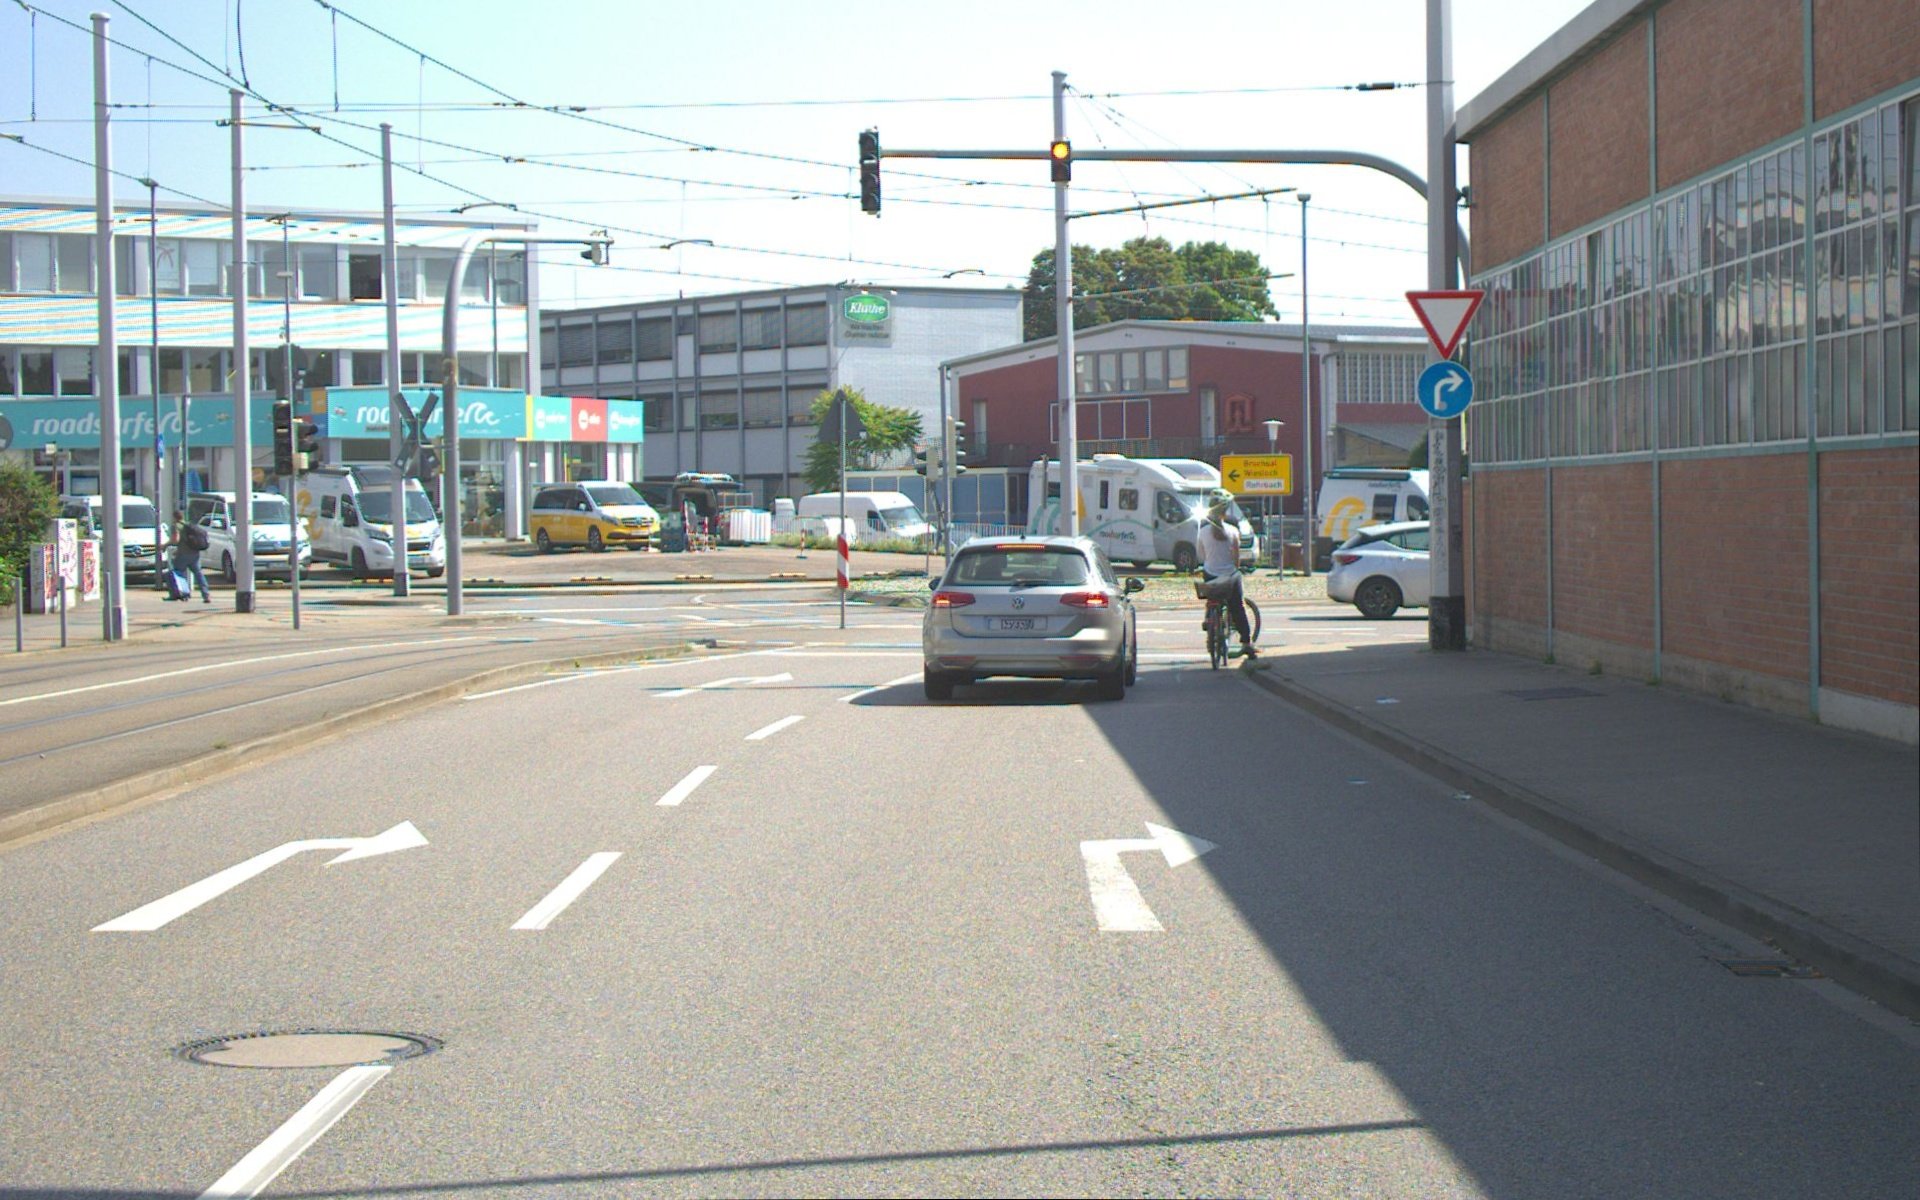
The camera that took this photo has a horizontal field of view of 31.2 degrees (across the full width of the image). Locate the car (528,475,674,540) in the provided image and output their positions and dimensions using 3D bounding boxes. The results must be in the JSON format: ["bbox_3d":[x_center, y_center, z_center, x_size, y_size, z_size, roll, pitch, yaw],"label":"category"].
[{"bbox_3d":[-10.019,-2.563,95.553,1.938,1.753,5.122,-1,2,-33],"label":"car"}]

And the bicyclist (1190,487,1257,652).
[{"bbox_3d":[2.906,-0.345,37.977,0.708,1.804,0.983,0,1,3],"label":"bicyclist"}]

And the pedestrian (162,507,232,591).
[{"bbox_3d":[-13.327,-0.900,60.065,1.129,1.450,0.838,-1,1,-9],"label":"pedestrian"}]

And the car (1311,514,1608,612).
[{"bbox_3d":[7.253,-0.552,50.128,4.192,1.370,1.802,0,1,7],"label":"car"}]

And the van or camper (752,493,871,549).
[{"bbox_3d":[-5.271,-2.797,121.731,3.997,1.941,1.995,1,2,45],"label":"van or camper"}]

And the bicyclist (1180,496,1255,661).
[{"bbox_3d":[2.718,-0.235,36.330,0.786,1.716,1.147,0,1,4],"label":"bicyclist"}]

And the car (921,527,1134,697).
[{"bbox_3d":[0.690,0.065,31.859,1.746,1.454,4.000,0,1,4],"label":"car"}]

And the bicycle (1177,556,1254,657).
[{"bbox_3d":[2.728,0.053,36.651,0.794,1.018,2.150,0,1,4],"label":"bicycle"}]

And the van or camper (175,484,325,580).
[{"bbox_3d":[-16.635,-1.628,80.367,1.993,2.006,5.011,-2,4,-29],"label":"van or camper"}]

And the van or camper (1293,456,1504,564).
[{"bbox_3d":[11.202,-2.360,88.234,2.282,2.431,5.386,-3,6,-35],"label":"van or camper"}]

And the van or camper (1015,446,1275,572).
[{"bbox_3d":[4.602,-2.365,86.913,2.347,2.920,6.984,-3,5,-41],"label":"van or camper"}]

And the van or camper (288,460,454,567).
[{"bbox_3d":[-14.045,-2.100,81.683,2.031,2.288,5.814,-2,4,-29],"label":"van or camper"}]

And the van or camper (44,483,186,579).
[{"bbox_3d":[-19.695,-1.631,80.004,1.993,2.006,4.763,-2,4,-29],"label":"van or camper"}]
